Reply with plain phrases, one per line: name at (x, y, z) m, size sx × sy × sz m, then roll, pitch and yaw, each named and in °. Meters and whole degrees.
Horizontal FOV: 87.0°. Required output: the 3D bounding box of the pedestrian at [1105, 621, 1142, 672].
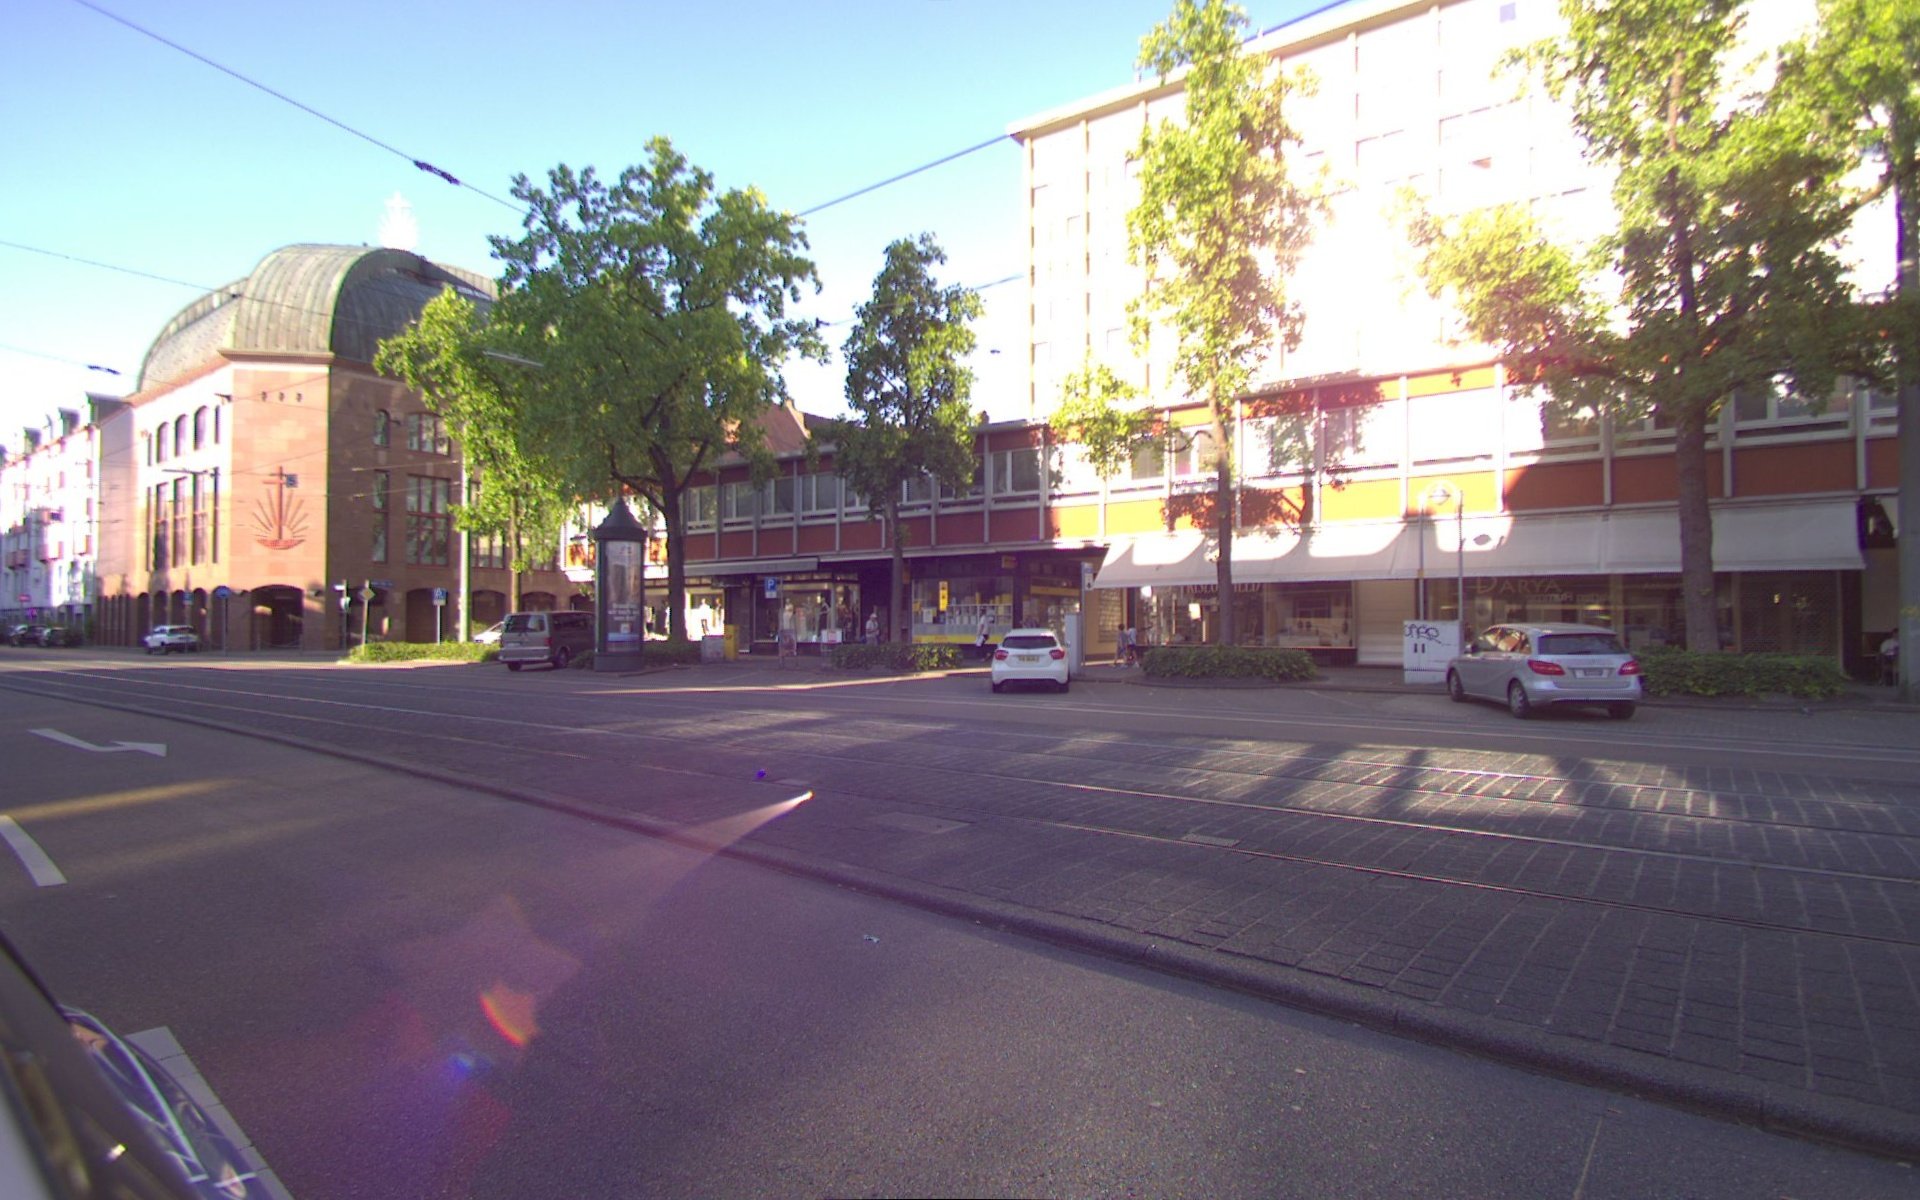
pedestrian at (4.924, 1.400, 30.495) m, size 0.898 × 1.509 × 0.681 m, roll -1°, pitch -2°, yaw 35°

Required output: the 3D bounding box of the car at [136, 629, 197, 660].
car at (-44.767, 2.489, 57.078) m, size 4.269 × 1.602 × 1.581 m, roll -1°, pitch 0°, yaw 36°

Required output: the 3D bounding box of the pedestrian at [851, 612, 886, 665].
pedestrian at (-3.300, 1.385, 36.457) m, size 0.898 × 1.892 × 0.908 m, roll -1°, pitch -2°, yaw 35°

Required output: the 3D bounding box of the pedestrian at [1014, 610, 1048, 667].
pedestrian at (2.426, 1.317, 34.725) m, size 0.885 × 1.892 × 0.922 m, roll 1°, pitch -2°, yaw -17°

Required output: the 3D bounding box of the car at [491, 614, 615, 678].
car at (-13.910, 1.512, 35.000) m, size 1.831 × 1.943 × 5.113 m, roll 0°, pitch 0°, yaw 6°

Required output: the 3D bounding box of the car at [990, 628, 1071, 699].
car at (1.788, 1.453, 24.435) m, size 1.745 × 1.440 × 4.261 m, roll -1°, pitch 0°, yaw 7°

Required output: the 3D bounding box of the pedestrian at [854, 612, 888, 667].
pedestrian at (-3.082, 1.357, 35.097) m, size 0.903 × 1.892 × 0.903 m, roll 1°, pitch -2°, yaw -29°

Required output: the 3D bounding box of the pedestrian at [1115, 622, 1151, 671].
pedestrian at (5.317, 1.415, 31.074) m, size 0.898 × 1.481 × 0.681 m, roll -1°, pitch -2°, yaw 35°

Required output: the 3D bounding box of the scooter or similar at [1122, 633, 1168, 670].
scooter or similar at (5.739, 1.587, 31.469) m, size 1.335 × 1.102 × 0.470 m, roll -1°, pitch -1°, yaw 36°

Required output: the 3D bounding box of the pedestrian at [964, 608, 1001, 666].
pedestrian at (0.792, 1.290, 35.216) m, size 0.898 × 1.963 × 0.985 m, roll -1°, pitch -2°, yaw 34°

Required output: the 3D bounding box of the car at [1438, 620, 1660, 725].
car at (10.211, 1.167, 17.966) m, size 1.805 × 1.578 × 4.271 m, roll 0°, pitch 0°, yaw 6°

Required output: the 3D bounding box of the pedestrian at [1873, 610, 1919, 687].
pedestrian at (19.676, 1.005, 21.210) m, size 0.705 × 1.575 × 0.864 m, roll -2°, pitch -2°, yaw 37°

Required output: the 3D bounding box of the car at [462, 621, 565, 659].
car at (-25.343, 2.257, 57.607) m, size 2.128 × 1.982 × 4.935 m, roll 2°, pitch 0°, yaw 35°

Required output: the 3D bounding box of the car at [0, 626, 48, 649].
car at (-71.453, 2.850, 77.188) m, size 4.552 × 1.713 × 1.941 m, roll -1°, pitch -1°, yaw 36°

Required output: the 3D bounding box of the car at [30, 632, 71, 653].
car at (-65.944, 3.053, 73.348) m, size 3.678 × 1.411 × 1.626 m, roll -1°, pitch -1°, yaw 39°
